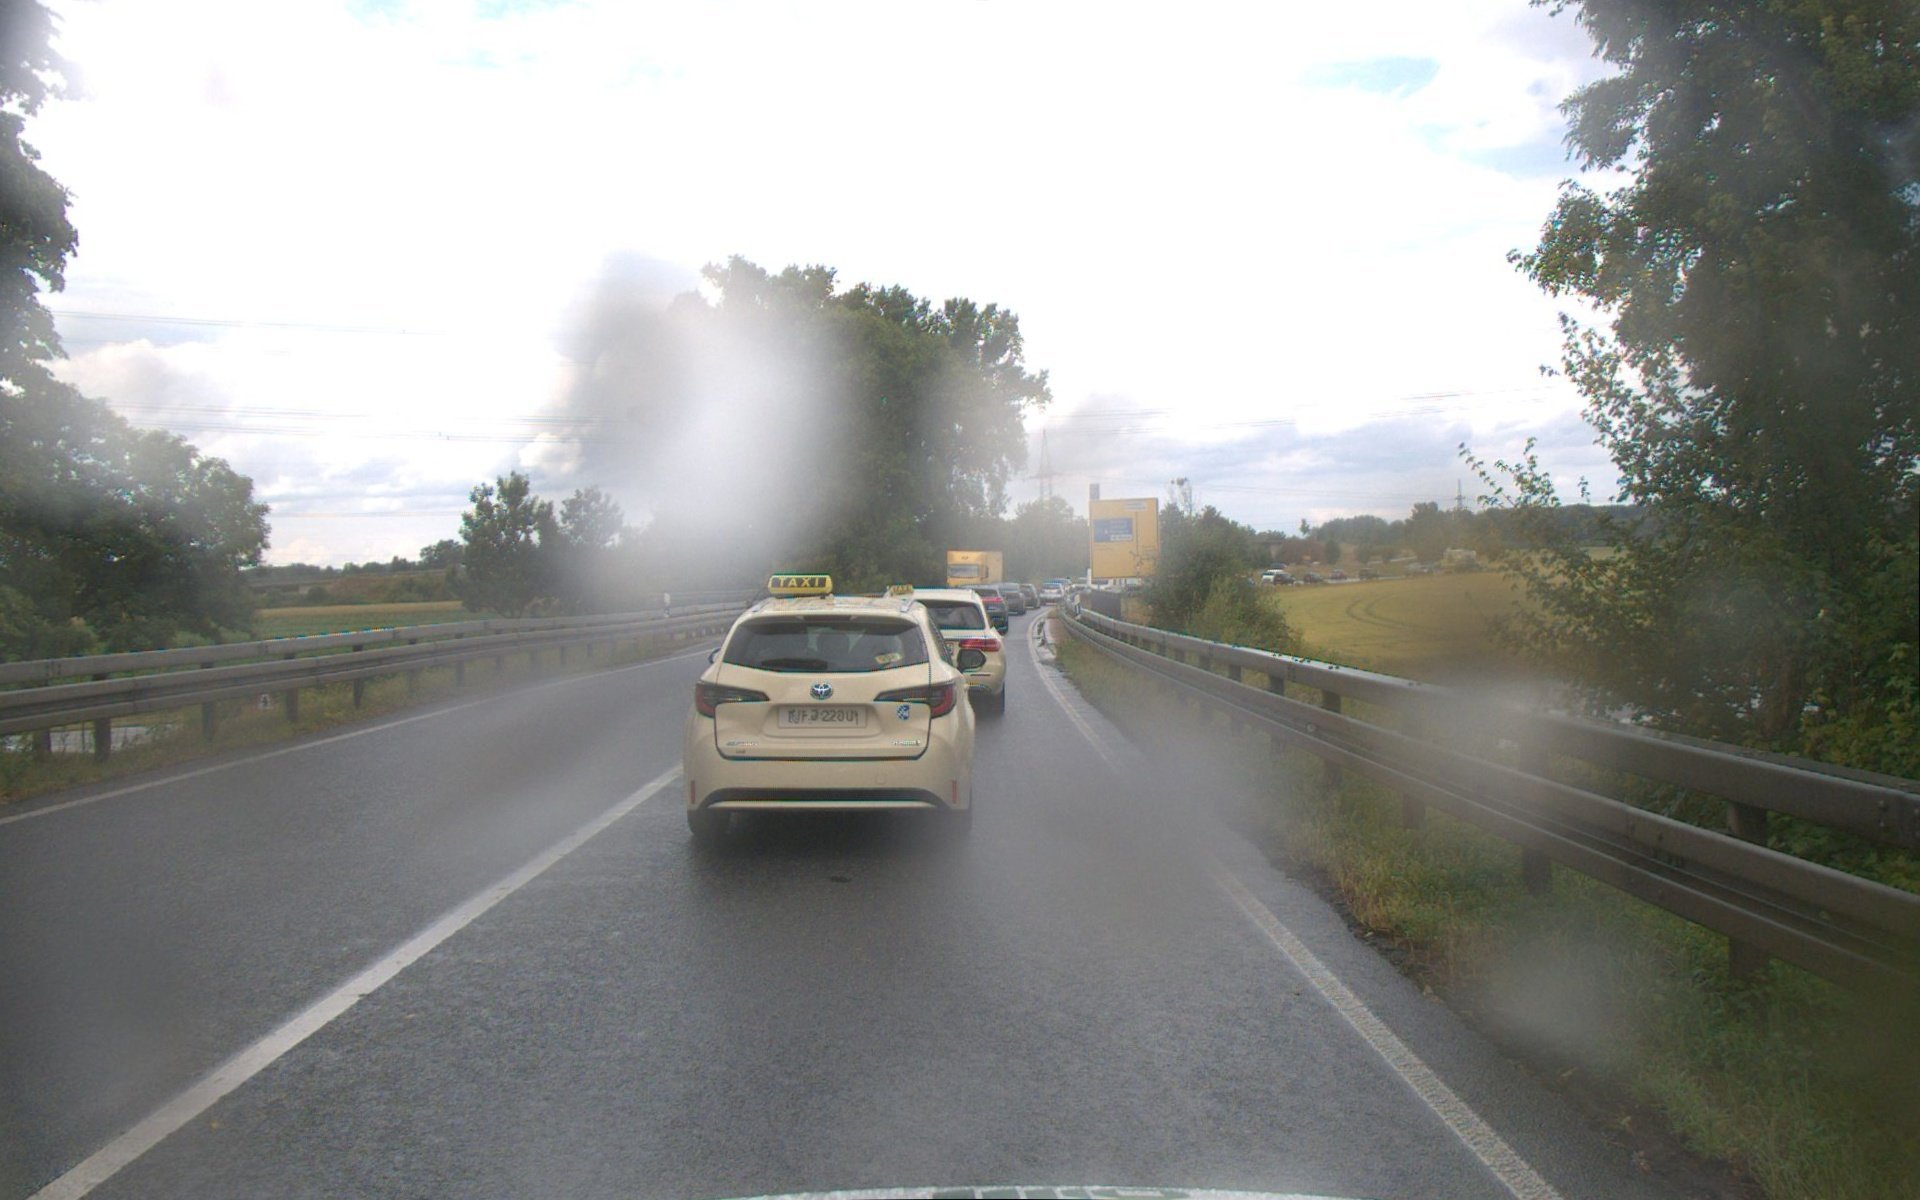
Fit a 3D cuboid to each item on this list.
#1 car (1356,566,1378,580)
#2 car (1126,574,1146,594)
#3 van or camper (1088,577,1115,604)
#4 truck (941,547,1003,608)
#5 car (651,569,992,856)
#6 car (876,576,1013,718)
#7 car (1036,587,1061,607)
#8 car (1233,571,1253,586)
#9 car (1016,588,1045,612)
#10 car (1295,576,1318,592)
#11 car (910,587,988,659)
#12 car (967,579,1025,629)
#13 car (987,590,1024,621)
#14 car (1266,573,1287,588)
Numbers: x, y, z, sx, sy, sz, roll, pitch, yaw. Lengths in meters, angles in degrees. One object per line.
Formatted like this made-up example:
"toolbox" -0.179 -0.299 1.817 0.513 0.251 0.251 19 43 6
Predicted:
"car" 62.017 -4.065 251.883 2.104 2.049 3.987 0 0 34
"car" 16.832 -1.499 158.277 1.695 1.851 4.003 1 0 9
"van or camper" 11.887 -0.782 139.025 1.951 2.293 4.003 1 0 9
"truck" 0.820 -1.504 103.260 2.712 3.488 9.196 2 2 7
"car" -0.763 0.608 11.161 1.867 1.564 4.161 0 0 0
"car" -0.133 0.524 20.612 1.545 1.600 3.682 0 0 1
"car" 6.024 -0.221 112.120 1.451 1.332 3.479 0 0 7
"car" 35.570 -2.693 207.879 1.880 1.870 4.001 1 0 19
"car" 4.036 -0.024 94.407 1.451 1.332 3.479 0 0 6
"car" 48.836 -2.250 233.114 1.956 2.049 3.992 0 0 30
"car" -0.199 0.462 35.282 1.474 1.462 3.357 1 0 2
"car" 1.093 0.119 51.592 1.631 1.489 3.476 0 0 -2
"car" 2.181 0.265 78.642 1.625 1.434 3.905 0 -1 3
"car" 42.653 -2.606 223.160 1.783 1.870 3.984 0 0 26
